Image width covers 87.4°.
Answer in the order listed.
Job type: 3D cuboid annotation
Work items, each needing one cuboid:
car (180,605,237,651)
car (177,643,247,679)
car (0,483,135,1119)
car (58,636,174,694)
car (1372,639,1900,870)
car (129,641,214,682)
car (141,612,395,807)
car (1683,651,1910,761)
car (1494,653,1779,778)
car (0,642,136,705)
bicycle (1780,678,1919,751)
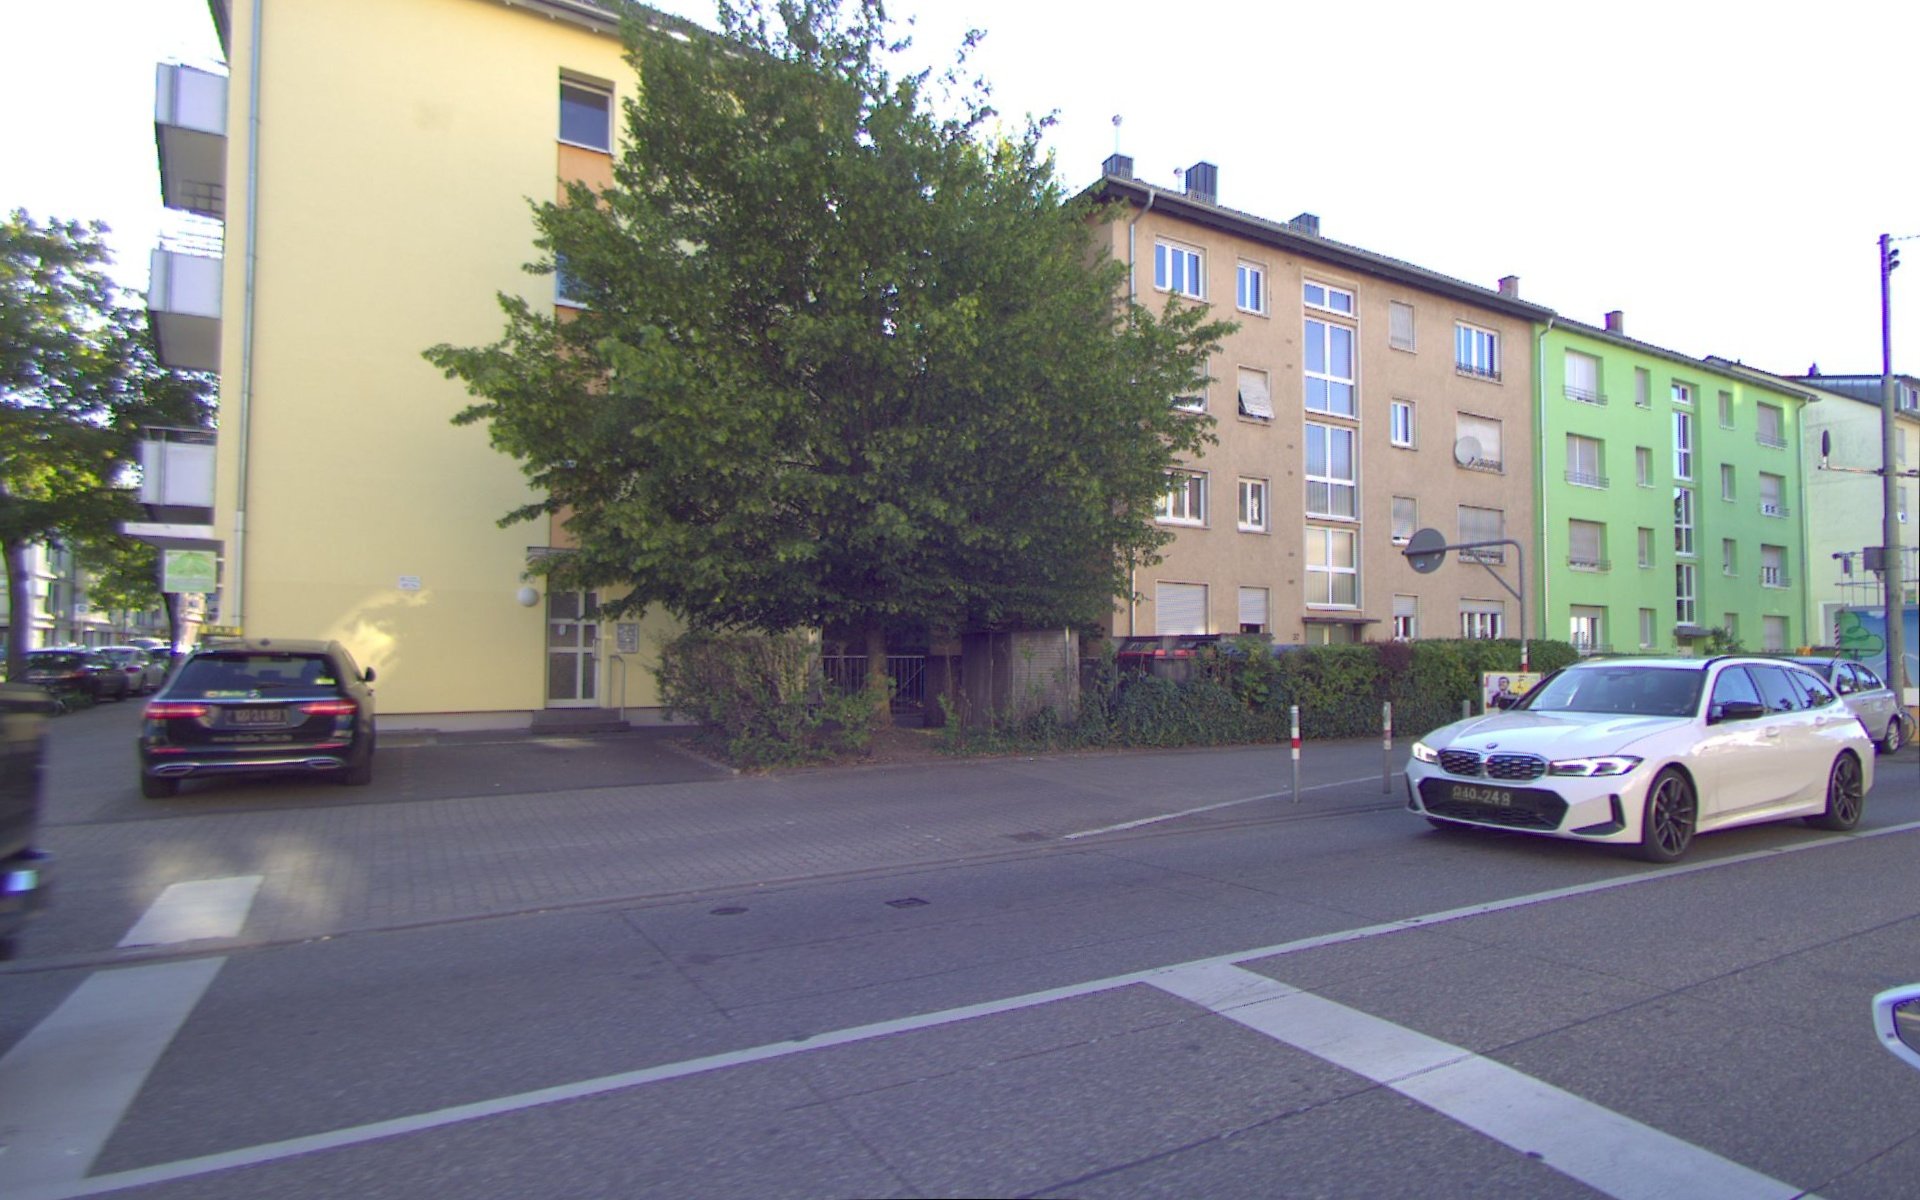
[{"bbox_3d":[-41.101,1.565,55.033,1.841,2.390,3.971,2,-3,-28],"label":"car"},{"bbox_3d":[-32.631,2.641,43.938,1.841,1.483,3.971,2,-3,-28],"label":"car"},{"bbox_3d":[-5.250,0.543,2.048,5.165,1.853,1.854,2,-5,-30],"label":"car"},{"bbox_3d":[-25.590,1.943,30.611,1.821,1.635,4.377,2,-3,-29],"label":"car"},{"bbox_3d":[5.798,1.149,8.499,4.616,1.492,1.829,2,-5,-30],"label":"car"},{"bbox_3d":[-29.972,2.333,38.303,1.841,1.483,3.971,2,-3,-28],"label":"car"},{"bbox_3d":[-7.311,0.982,10.928,1.823,1.635,4.566,2,-2,-31],"label":"car"},{"bbox_3d":[13.509,1.637,16.192,3.742,1.572,1.629,2,-3,-31],"label":"car"},{"bbox_3d":[9.326,1.503,13.807,3.895,1.498,1.647,2,-3,-29],"label":"car"},{"bbox_3d":[-22.926,1.852,25.871,1.841,1.483,3.971,2,-3,-28],"label":"car"},{"bbox_3d":[15.865,1.997,17.800,0.576,1.103,1.997,2,-1,-28],"label":"bicycle"}]
